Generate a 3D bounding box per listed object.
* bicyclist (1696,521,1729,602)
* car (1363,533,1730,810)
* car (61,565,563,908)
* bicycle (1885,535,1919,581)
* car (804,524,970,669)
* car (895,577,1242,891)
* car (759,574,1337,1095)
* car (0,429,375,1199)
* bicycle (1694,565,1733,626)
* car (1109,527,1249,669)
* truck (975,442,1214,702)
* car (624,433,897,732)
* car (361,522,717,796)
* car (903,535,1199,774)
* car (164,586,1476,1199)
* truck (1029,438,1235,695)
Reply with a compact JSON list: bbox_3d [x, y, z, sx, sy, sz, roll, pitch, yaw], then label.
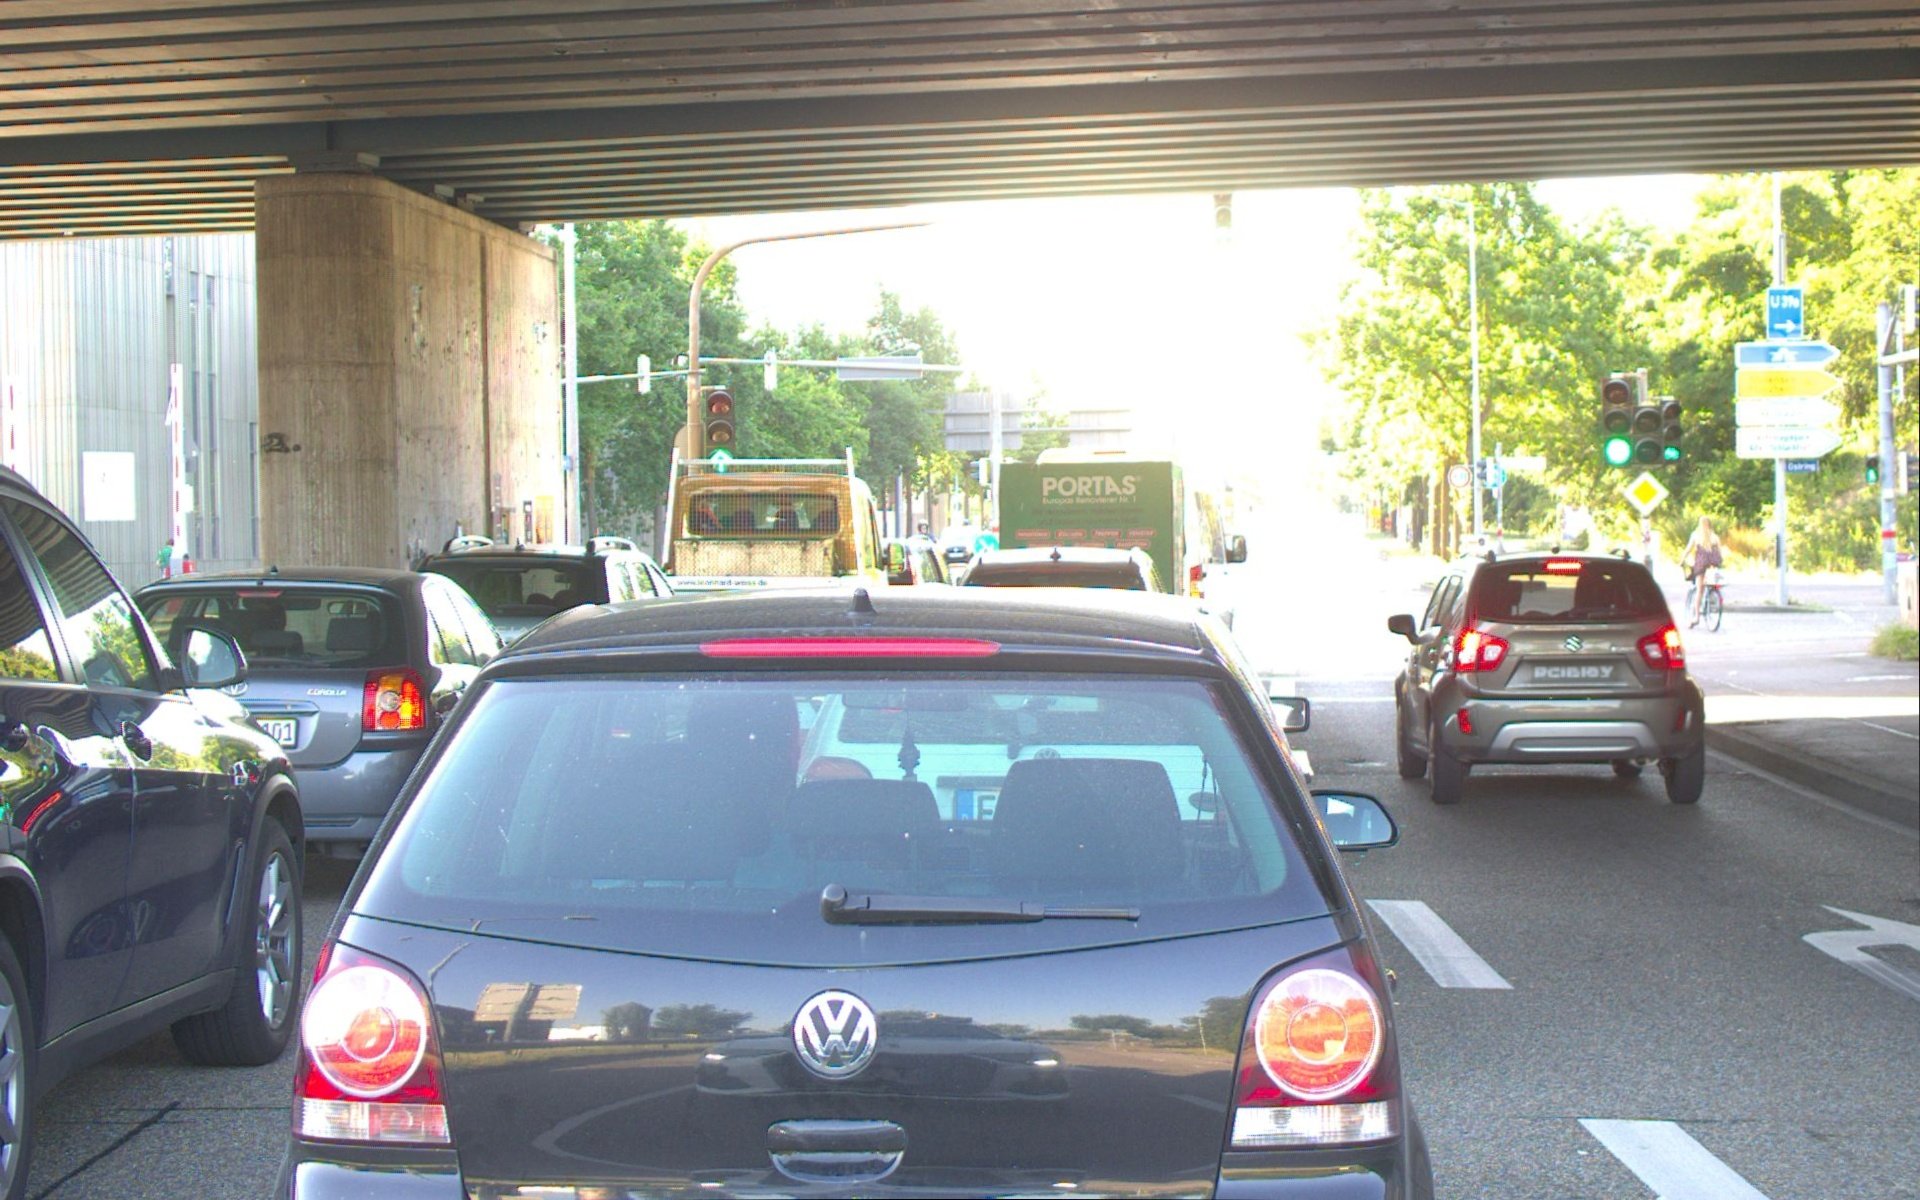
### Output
[{"bbox_3d":[11.503,-0.589,52.544,0.427,1.229,0.460,-1,0,6],"label":"bicyclist"},{"bbox_3d":[3.726,0.404,22.494,1.737,1.625,4.062,1,1,1],"label":"car"},{"bbox_3d":[-2.909,0.550,16.145,1.616,1.405,3.683,1,1,1],"label":"car"},{"bbox_3d":[21.690,-0.954,77.262,1.664,0.988,0.577,-1,4,23],"label":"bicycle"},{"bbox_3d":[-0.850,-0.057,42.168,1.617,1.673,3.682,1,1,5],"label":"car"},{"bbox_3d":[0.526,0.601,17.849,1.578,1.408,4.062,1,1,1],"label":"car"},{"bbox_3d":[0.268,0.633,11.536,1.578,1.408,4.062,1,1,1],"label":"car"},{"bbox_3d":[-2.908,0.488,8.372,1.994,1.728,4.532,1,1,3],"label":"car"},{"bbox_3d":[11.504,-0.070,52.516,0.437,0.911,1.026,-2,0,6],"label":"bicycle"},{"bbox_3d":[2.761,-0.043,42.702,1.617,1.673,3.682,1,1,5],"label":"car"},{"bbox_3d":[1.353,-0.272,32.948,1.996,2.307,3.999,1,1,6],"label":"truck"},{"bbox_3d":[-1.779,-0.179,32.400,2.137,2.567,5.087,1,1,1],"label":"car"},{"bbox_3d":[-2.744,0.347,23.140,1.617,1.673,3.682,1,1,5],"label":"car"},{"bbox_3d":[0.735,0.342,24.761,1.796,1.553,3.999,1,1,6],"label":"car"},{"bbox_3d":[-0.035,0.699,6.065,1.617,1.405,3.682,1,1,5],"label":"car"},{"bbox_3d":[1.949,-0.373,37.862,1.996,2.659,3.999,1,1,6],"label":"truck"}]
